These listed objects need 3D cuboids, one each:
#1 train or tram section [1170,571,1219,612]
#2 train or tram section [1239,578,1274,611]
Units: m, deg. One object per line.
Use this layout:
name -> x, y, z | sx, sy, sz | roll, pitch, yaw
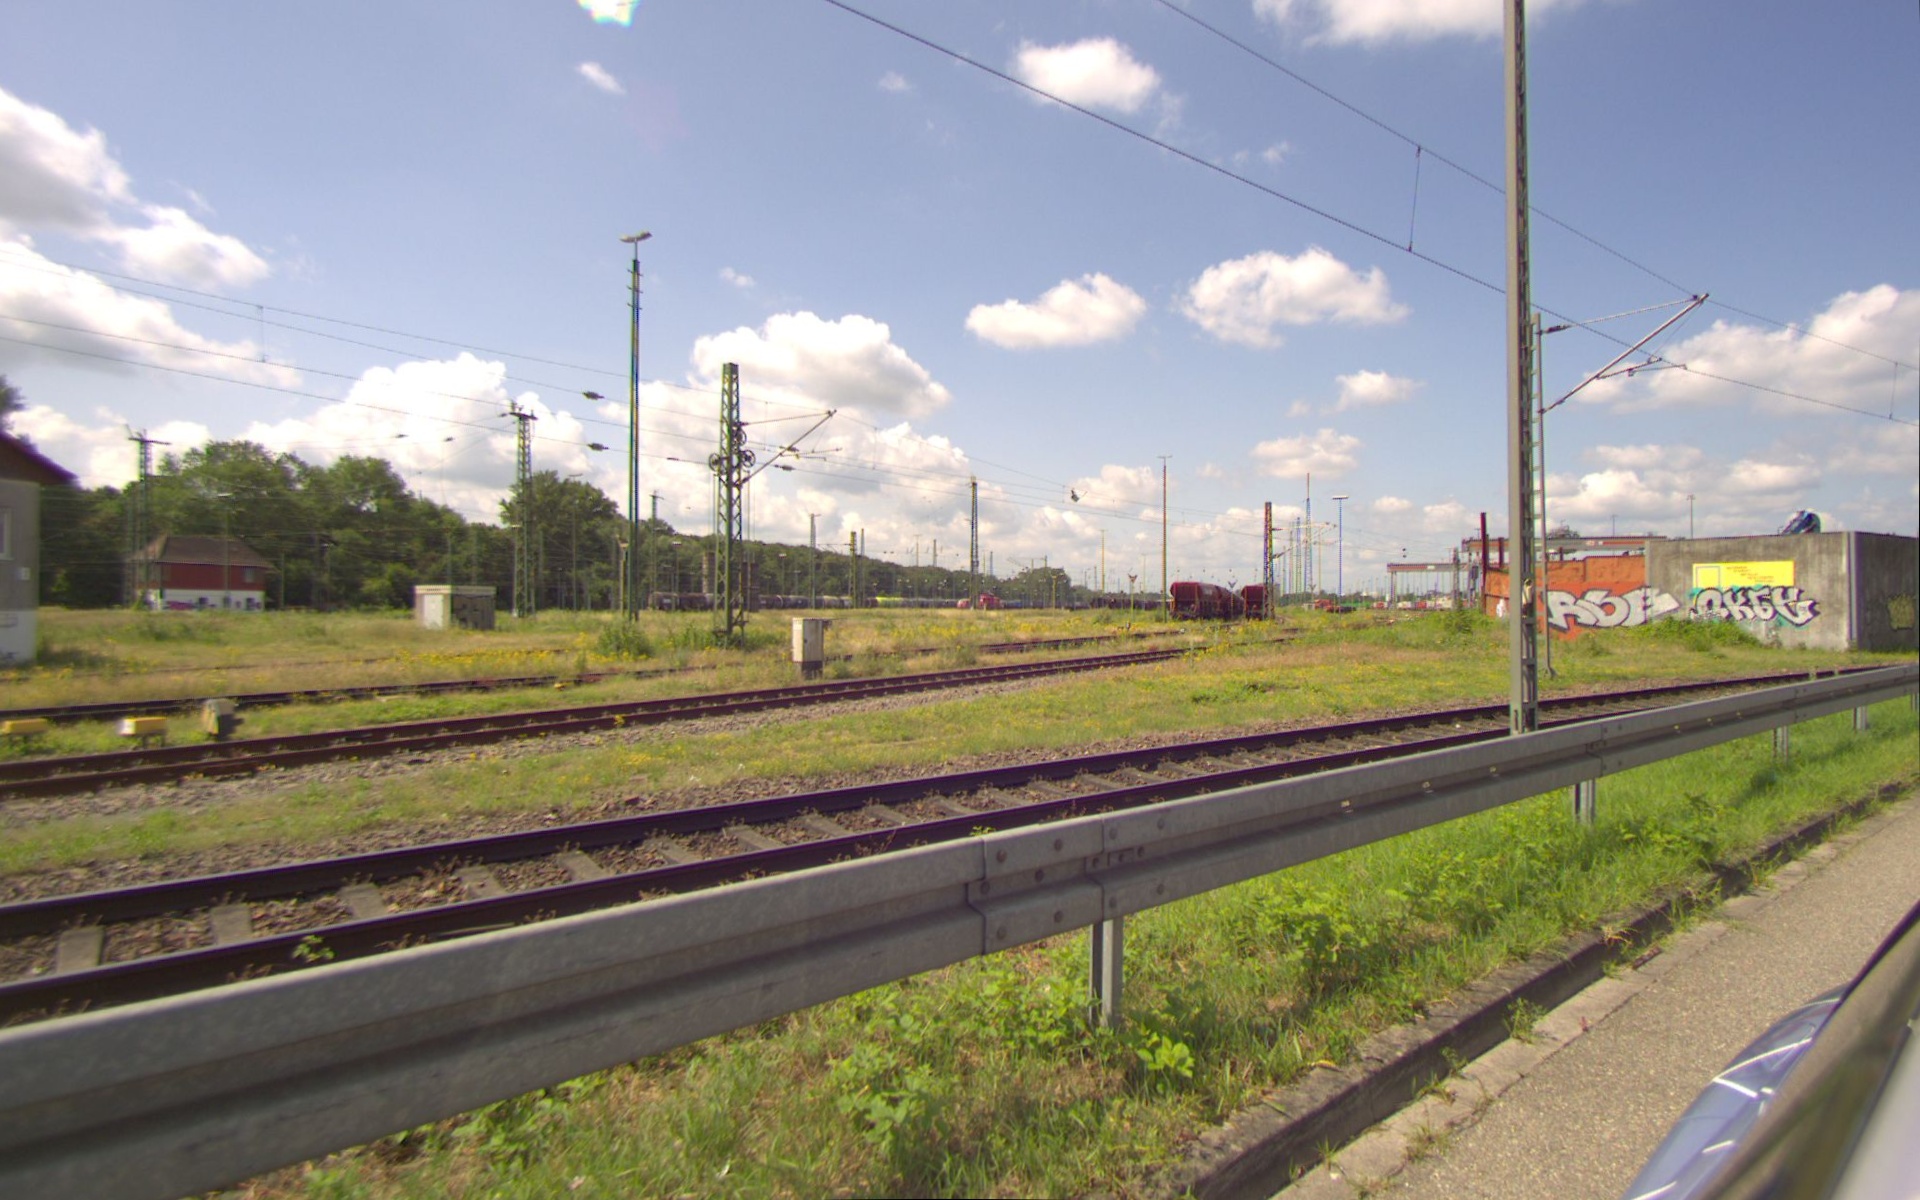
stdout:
train or tram section -> 23.310, -0.726, 100.137 | 3.261, 3.764, 12.466 | 0, -1, 20
train or tram section -> 35.323, -0.543, 120.286 | 3.166, 3.764, 12.466 | 0, -1, 20
